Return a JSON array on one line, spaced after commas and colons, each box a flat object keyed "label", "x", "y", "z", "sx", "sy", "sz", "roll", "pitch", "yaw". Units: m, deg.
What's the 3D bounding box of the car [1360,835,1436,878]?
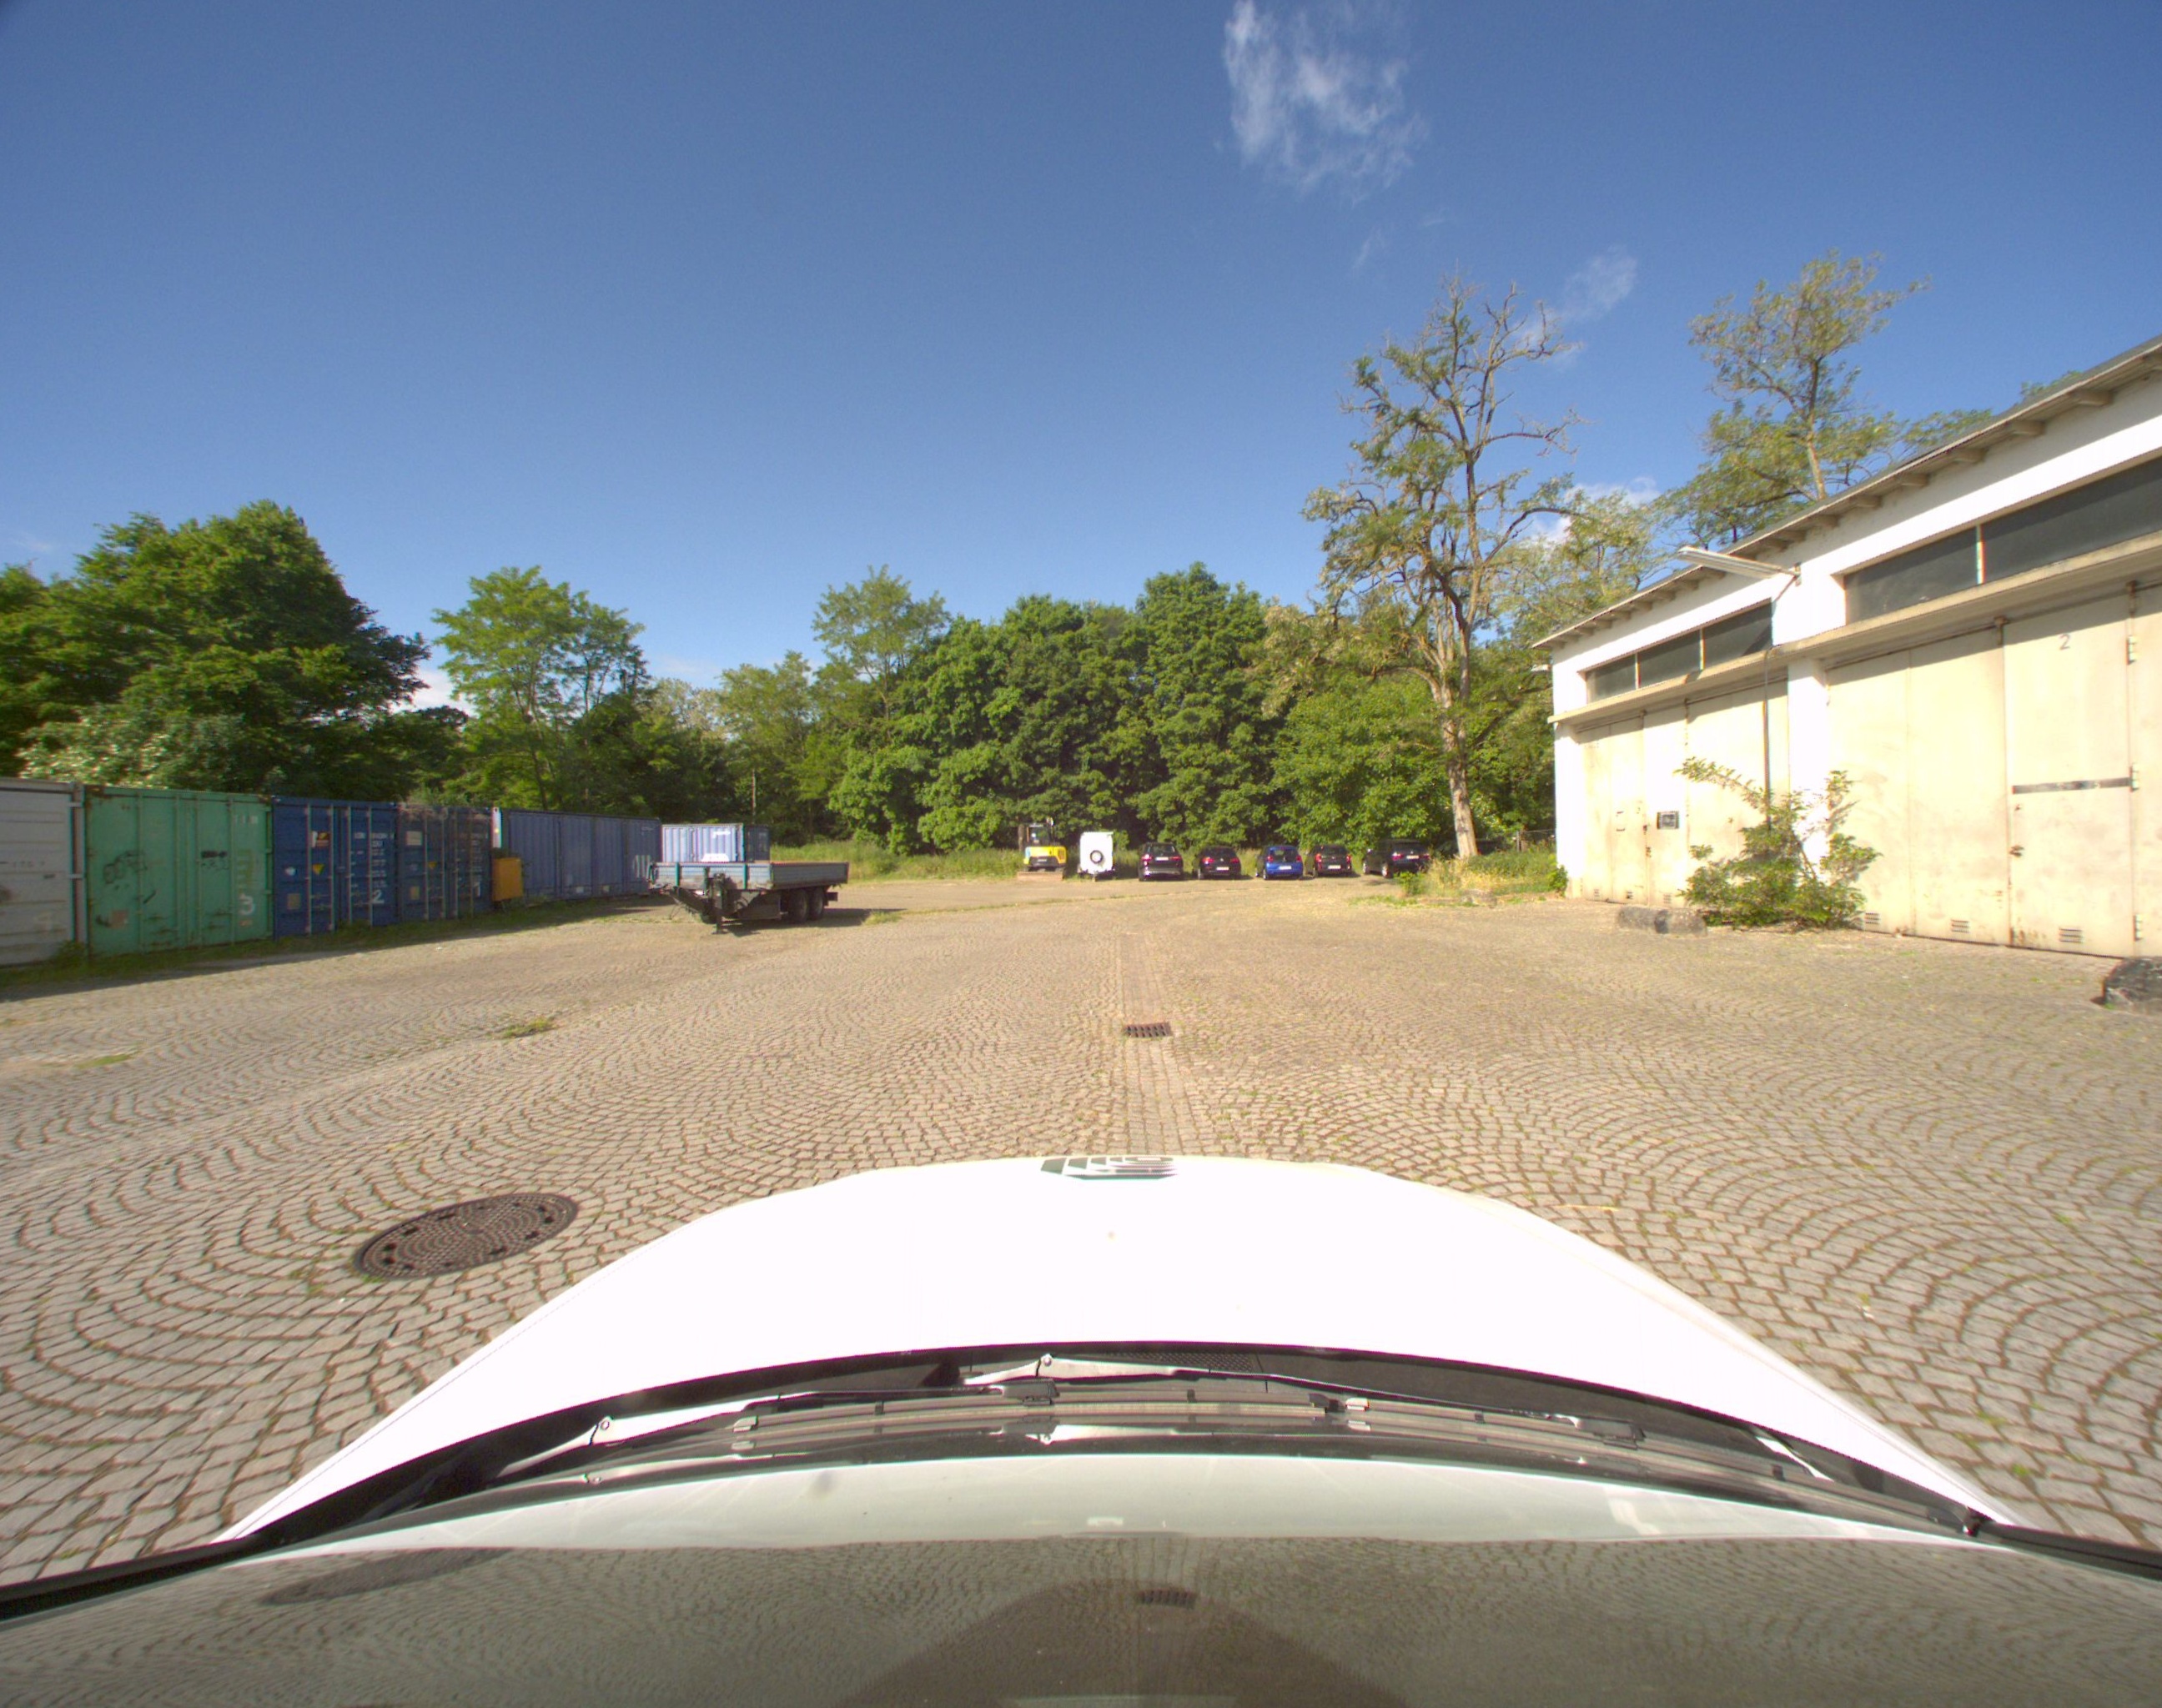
[{"label": "car", "x": 13.940, "y": 0.056, "z": 36.064, "sx": 1.867, "sy": 1.630, "sz": 4.276, "roll": 0, "pitch": 3, "yaw": 2}]

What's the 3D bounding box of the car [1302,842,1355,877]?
[{"label": "car", "x": 11.025, "y": 0.206, "z": 36.537, "sx": 1.729, "sy": 1.451, "sz": 3.734, "roll": 0, "pitch": 2, "yaw": 8}]

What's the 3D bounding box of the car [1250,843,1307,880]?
[{"label": "car", "x": 8.540, "y": 0.273, "z": 35.413, "sx": 1.772, "sy": 1.458, "sz": 3.794, "roll": 0, "pitch": 2, "yaw": 3}]

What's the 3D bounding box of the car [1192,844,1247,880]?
[{"label": "car", "x": 5.898, "y": 0.311, "z": 35.000, "sx": 1.881, "sy": 1.411, "sz": 3.793, "roll": 0, "pitch": 1, "yaw": 2}]
